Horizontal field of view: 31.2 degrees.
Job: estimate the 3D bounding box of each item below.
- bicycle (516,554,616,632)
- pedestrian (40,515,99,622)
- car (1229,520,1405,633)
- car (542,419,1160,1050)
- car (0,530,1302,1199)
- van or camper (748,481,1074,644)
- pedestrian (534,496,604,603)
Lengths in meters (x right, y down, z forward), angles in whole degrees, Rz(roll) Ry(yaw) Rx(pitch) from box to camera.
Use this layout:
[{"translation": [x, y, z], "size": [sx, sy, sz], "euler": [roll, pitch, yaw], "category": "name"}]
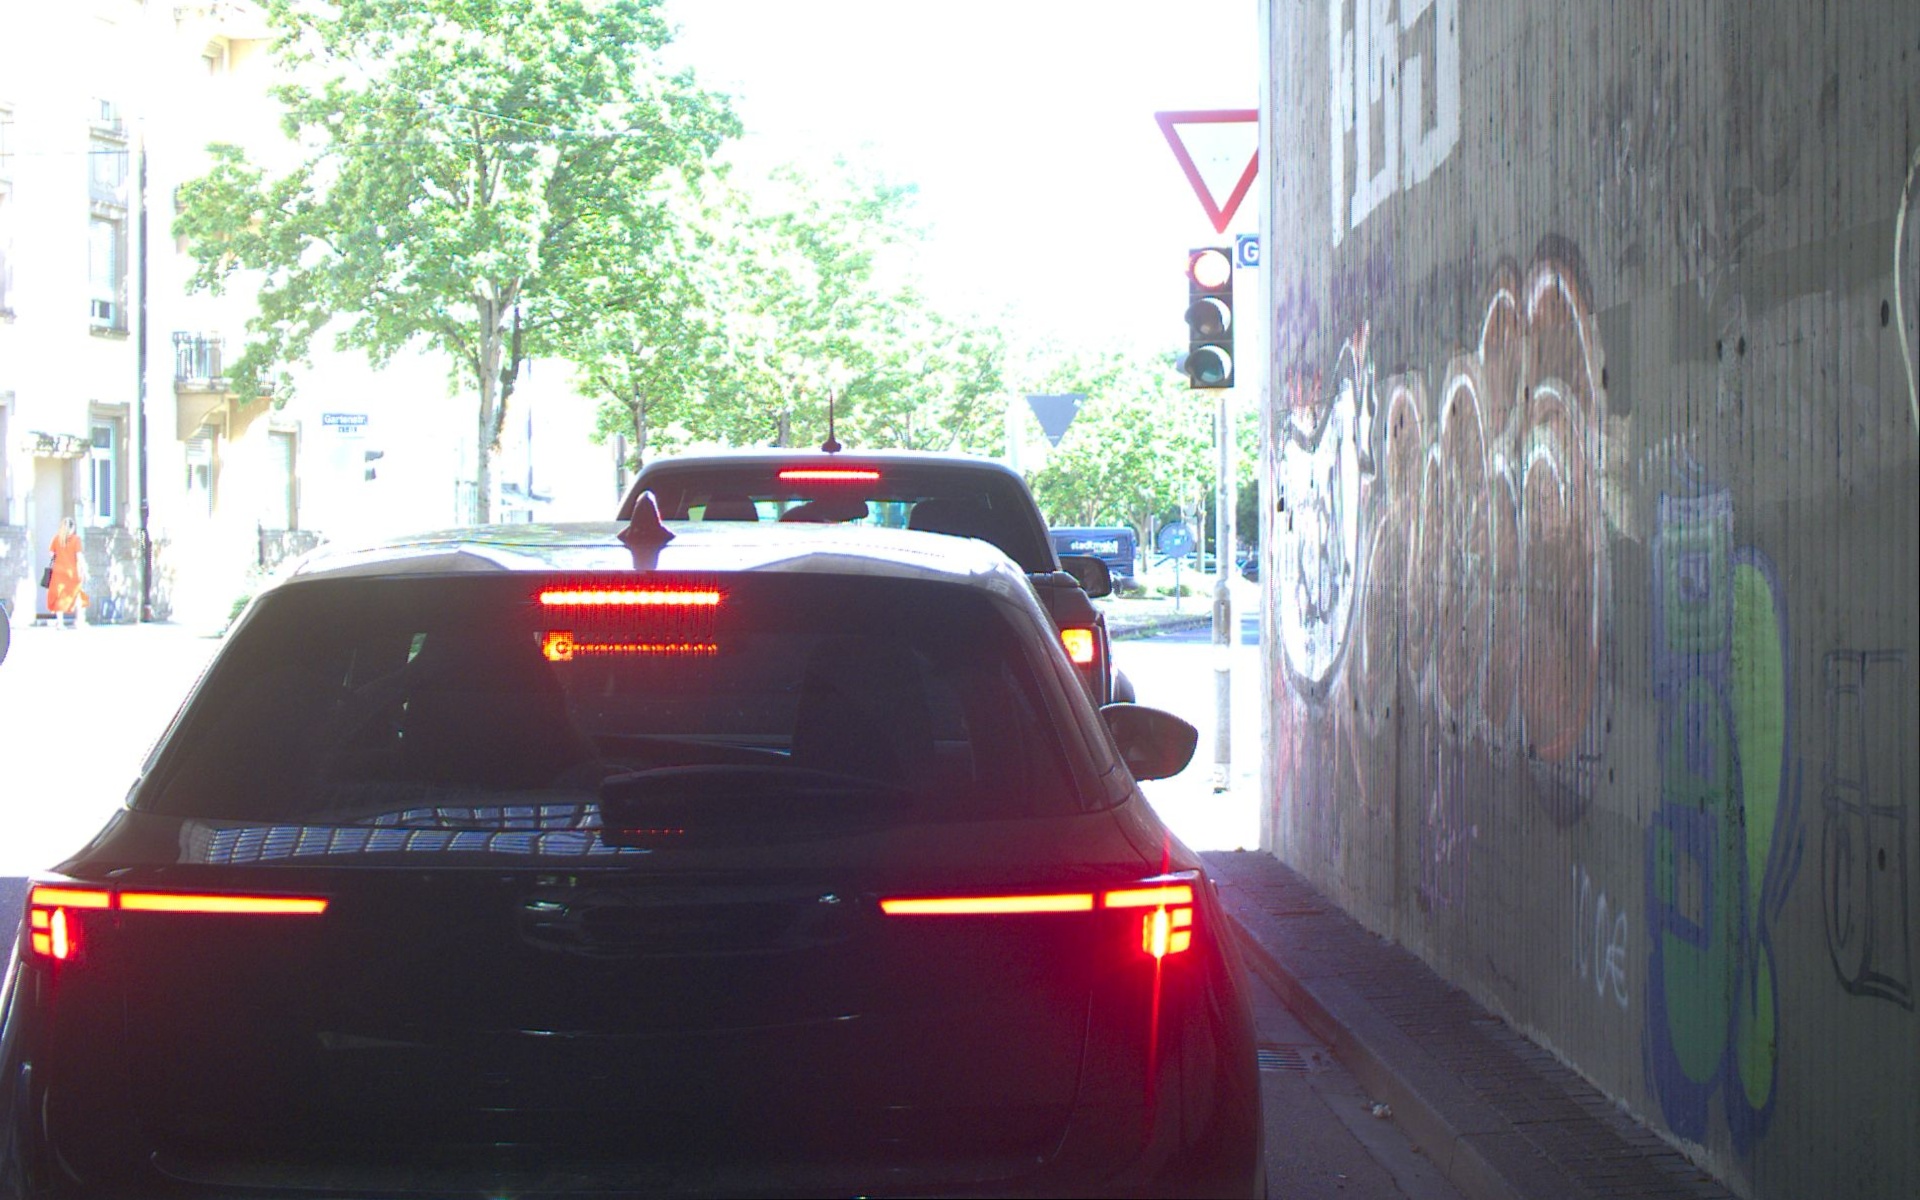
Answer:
[{"translation": [-5.867, -0.120, 51.349], "size": [0.737, 1.126, 2.025], "euler": [0, 1, 17], "category": "bicycle"}, {"translation": [-14.273, -0.507, 55.119], "size": [0.623, 1.699, 0.723], "euler": [1, 0, 13], "category": "pedestrian"}, {"translation": [5.141, -0.364, 49.012], "size": [1.994, 1.529, 4.732], "euler": [0, 1, 12], "category": "car"}, {"translation": [-0.337, 0.357, 12.039], "size": [1.786, 1.827, 3.961], "euler": [1, 1, 0], "category": "car"}, {"translation": [-0.486, 0.637, 6.157], "size": [1.753, 1.493, 4.000], "euler": [1, 1, 0], "category": "car"}, {"translation": [-0.588, -0.479, 43.466], "size": [3.878, 2.007, 2.000], "euler": [0, 1, 7], "category": "van or camper"}, {"translation": [-5.841, -0.753, 51.424], "size": [0.736, 1.579, 0.889], "euler": [1, 0, 15], "category": "pedestrian"}]
